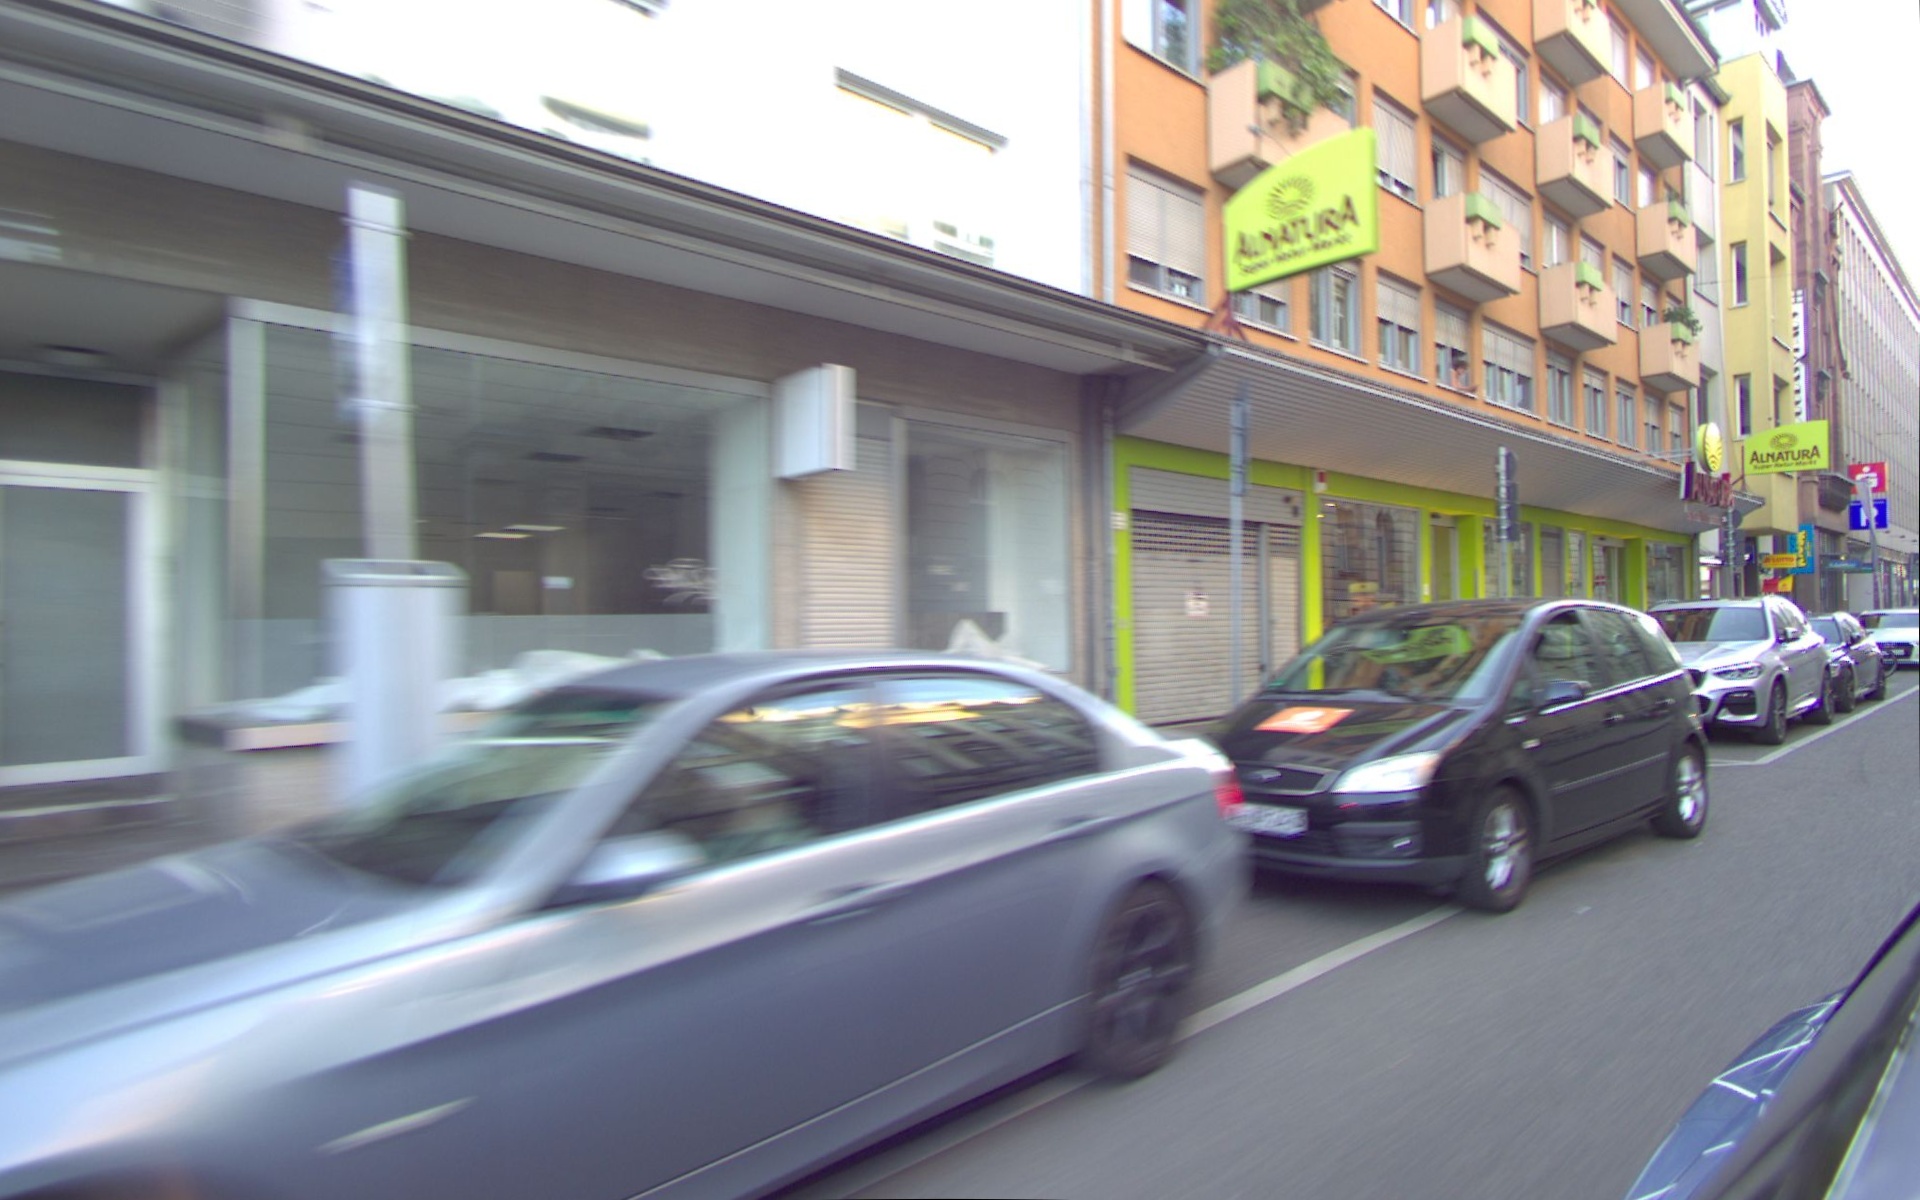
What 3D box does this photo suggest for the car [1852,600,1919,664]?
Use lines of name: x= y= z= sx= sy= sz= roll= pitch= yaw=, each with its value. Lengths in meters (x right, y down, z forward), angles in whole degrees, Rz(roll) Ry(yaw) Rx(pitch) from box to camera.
car: x=22.887 y=0.734 z=24.337 sx=4.561 sy=1.430 sz=1.692 roll=0 pitch=-3 yaw=-43

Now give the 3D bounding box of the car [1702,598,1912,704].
car: x=13.439 y=0.741 z=15.953 sx=4.672 sy=1.433 sz=1.694 roll=0 pitch=-3 yaw=-40

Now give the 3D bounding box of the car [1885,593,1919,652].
car: x=26.717 y=0.591 z=27.678 sx=4.101 sy=1.536 sz=1.620 roll=0 pitch=-3 yaw=-42

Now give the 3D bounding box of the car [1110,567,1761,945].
car: x=3.194 y=0.713 z=6.433 sx=4.402 sy=1.631 sz=1.799 roll=0 pitch=-3 yaw=-36

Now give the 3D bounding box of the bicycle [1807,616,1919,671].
bicycle: x=18.383 y=0.883 z=20.529 sx=1.708 sy=1.069 sz=0.658 roll=-2 pitch=-2 yaw=9

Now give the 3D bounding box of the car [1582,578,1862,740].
car: x=9.731 y=0.667 z=12.780 sx=4.672 sy=1.690 sz=1.755 roll=0 pitch=-3 yaw=-40

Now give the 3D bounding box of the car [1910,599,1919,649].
car: x=30.580 y=0.672 z=30.887 sx=4.417 sy=1.472 sz=1.689 roll=0 pitch=-3 yaw=-39

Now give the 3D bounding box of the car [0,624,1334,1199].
car: x=-0.852 y=0.847 z=3.038 sx=4.602 sy=1.434 sz=1.738 roll=0 pitch=-3 yaw=-42
